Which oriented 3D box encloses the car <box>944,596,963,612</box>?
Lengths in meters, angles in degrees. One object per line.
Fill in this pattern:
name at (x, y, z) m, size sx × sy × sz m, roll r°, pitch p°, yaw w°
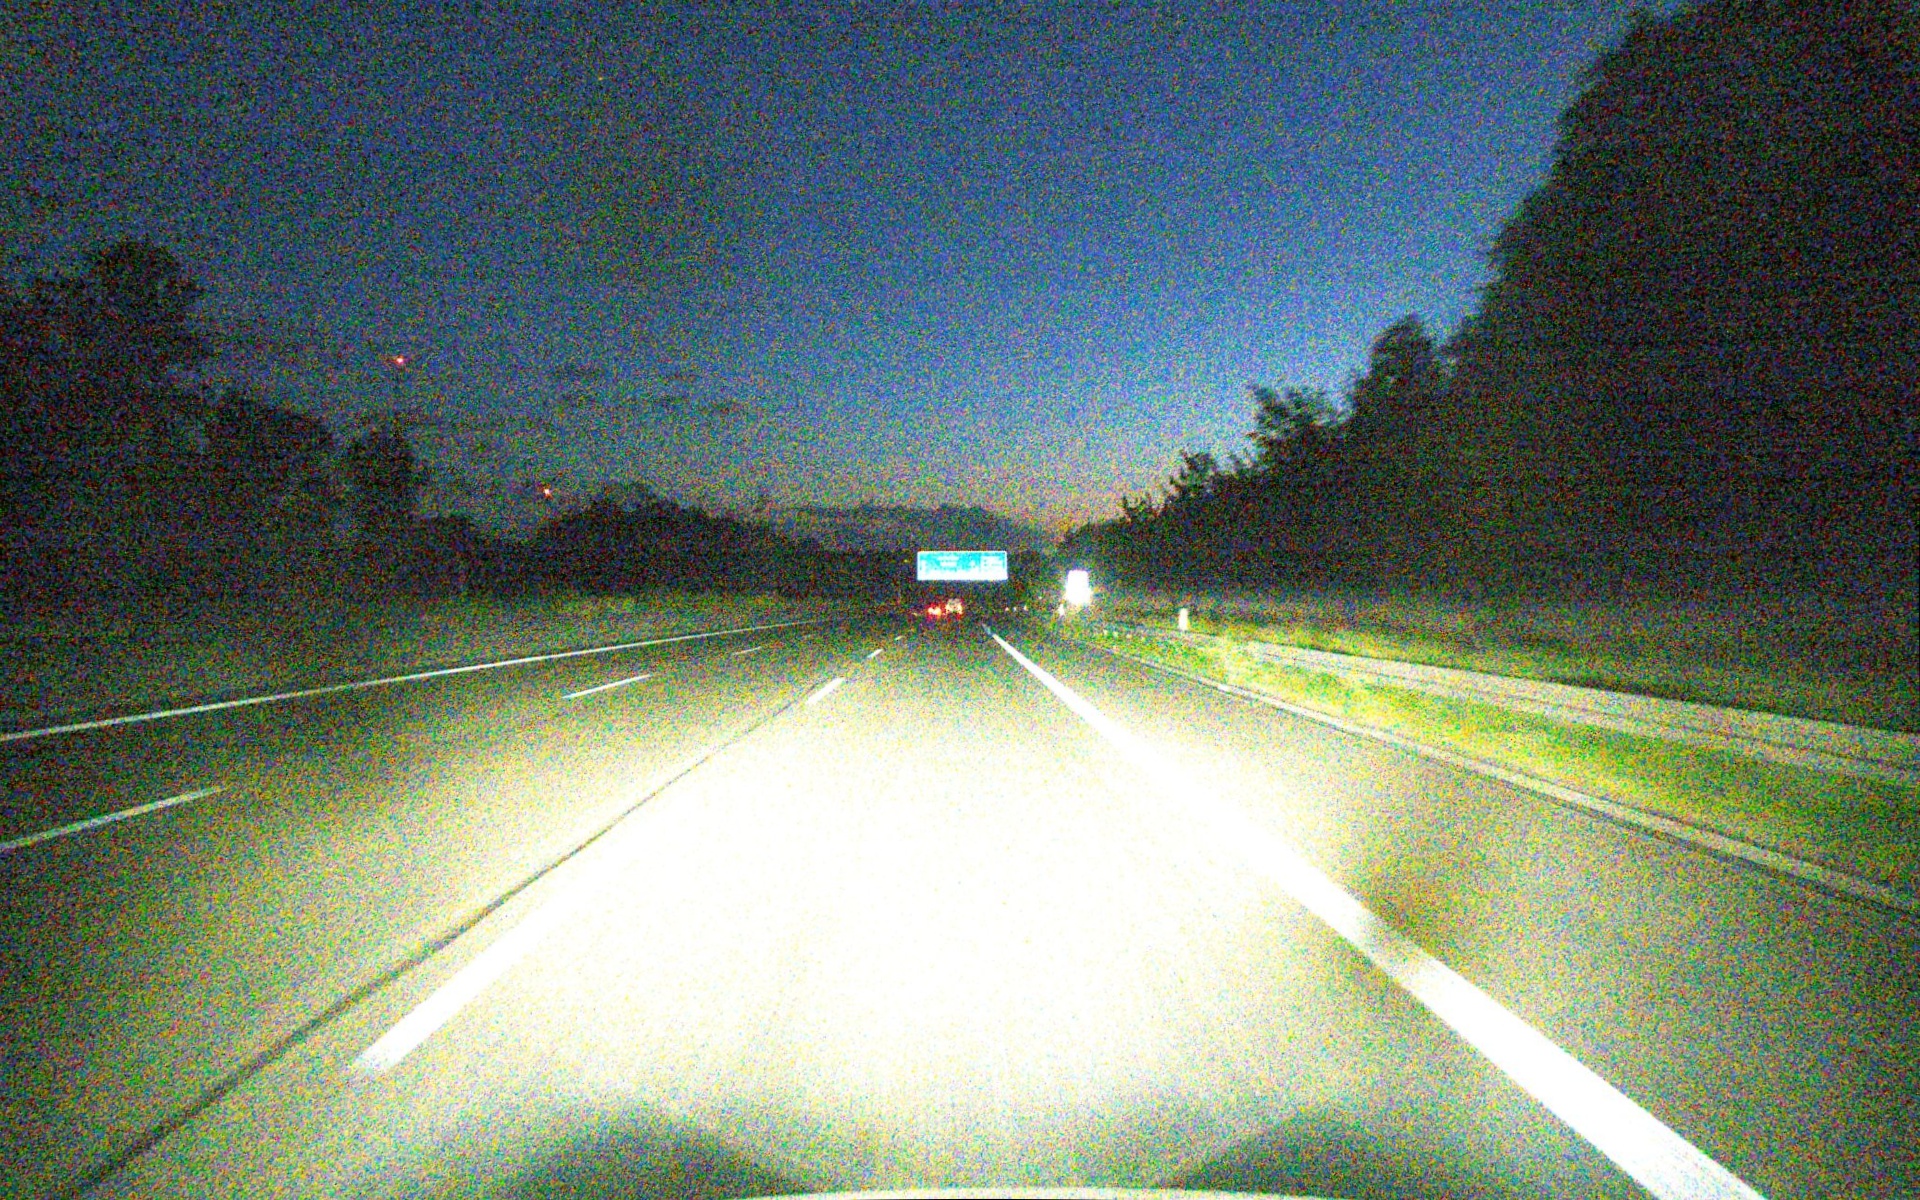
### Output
car at (-0.954, 0.577, 248.096) m, size 2.458 × 2.354 × 4.972 m, roll 0°, pitch -1°, yaw 4°
